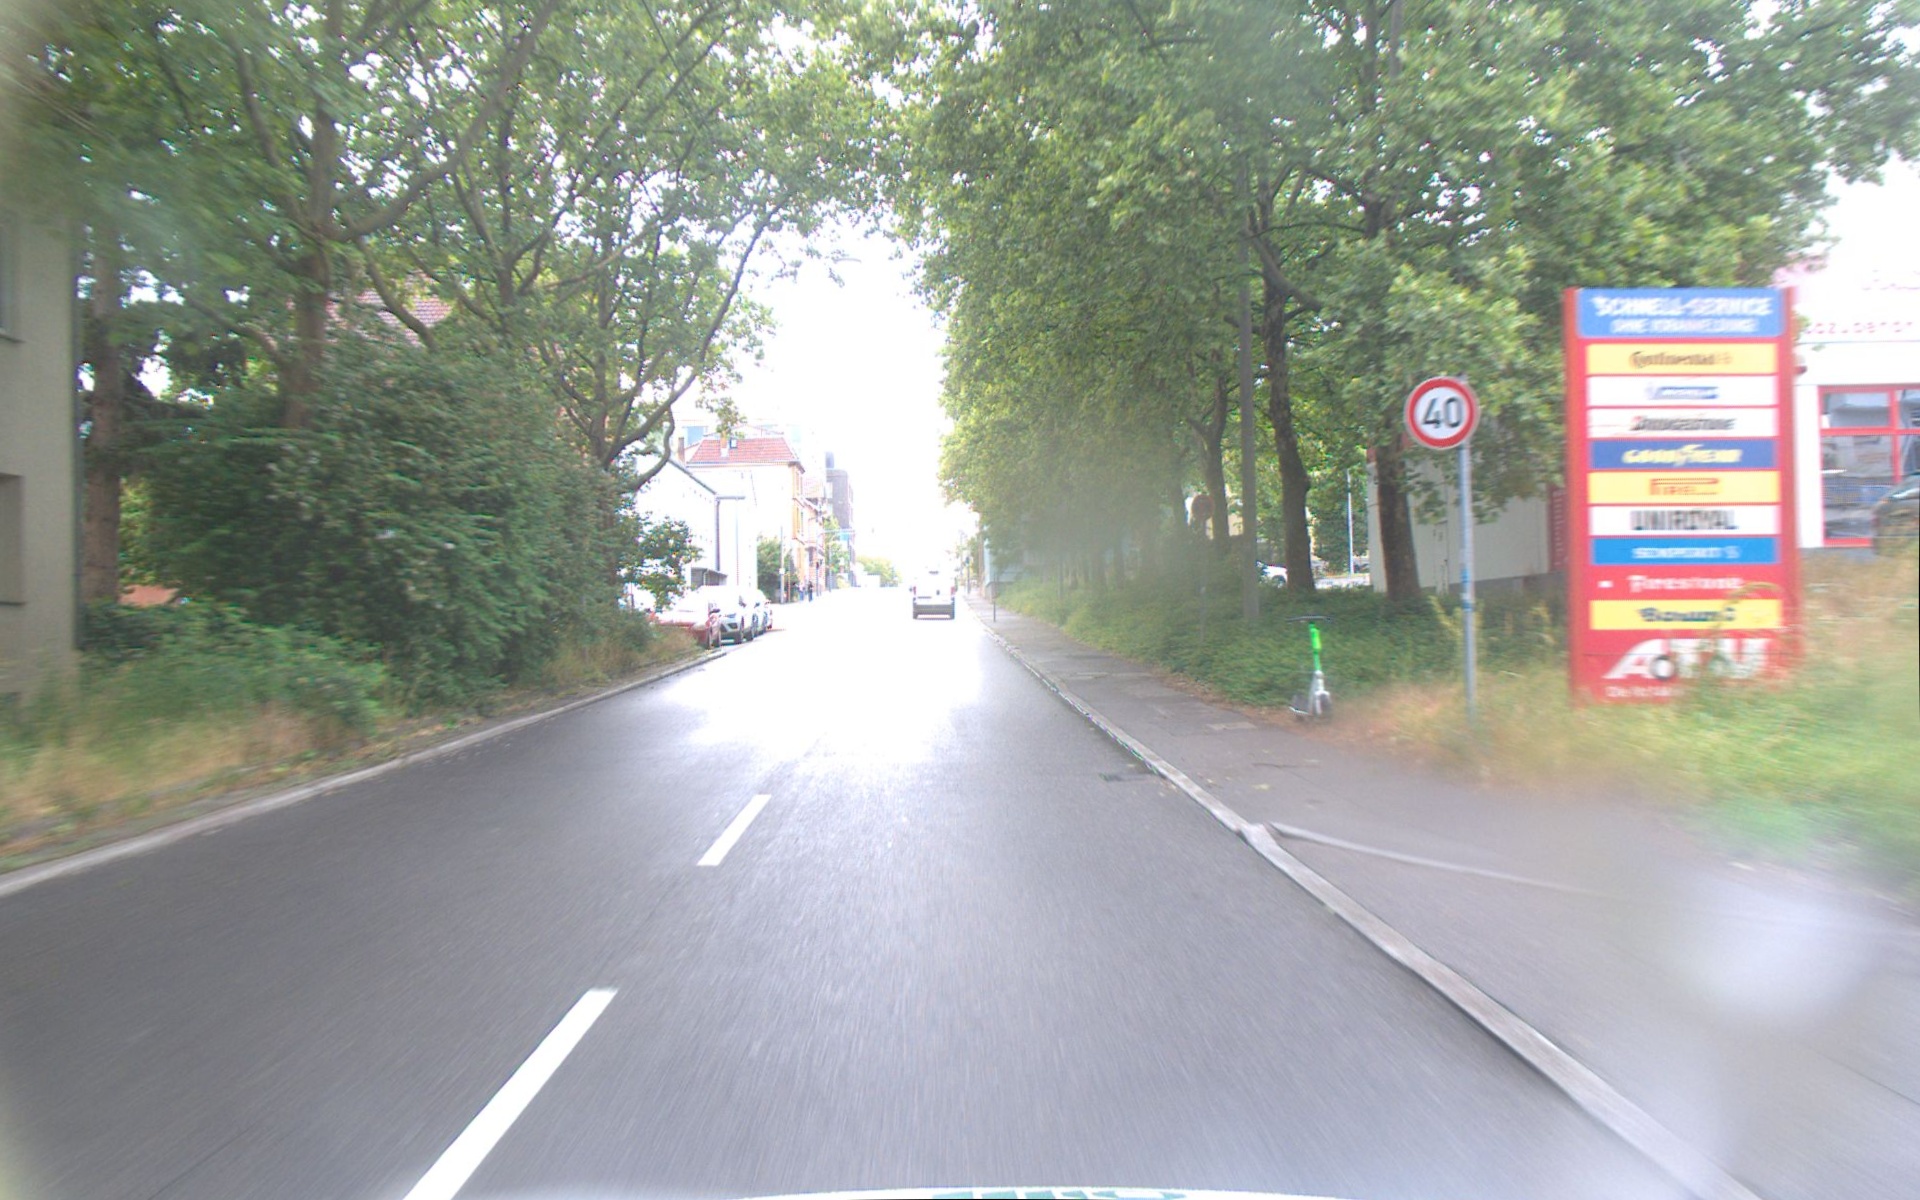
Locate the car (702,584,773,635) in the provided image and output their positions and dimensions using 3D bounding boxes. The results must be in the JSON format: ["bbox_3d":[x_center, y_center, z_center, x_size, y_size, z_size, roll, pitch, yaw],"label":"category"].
[{"bbox_3d":[-7.083,0.280,52.958,1.708,1.508,4.385,-1,0,-1],"label":"car"}]

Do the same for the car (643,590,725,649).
[{"bbox_3d":[-6.872,0.461,41.450,1.606,1.397,3.757,0,0,-3],"label":"car"}]

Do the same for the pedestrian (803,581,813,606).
[{"bbox_3d":[-12.216,-0.542,133.299,0.657,2.049,0.942,0,0,3],"label":"pedestrian"}]

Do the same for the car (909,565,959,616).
[{"bbox_3d":[-1.231,-0.436,78.906,2.288,2.270,3.999,-1,-1,-1],"label":"car"}]

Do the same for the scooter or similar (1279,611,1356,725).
[{"bbox_3d":[3.831,0.725,17.816,0.417,1.162,1.528,1,-2,-3],"label":"scooter or similar"}]

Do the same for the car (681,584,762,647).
[{"bbox_3d":[-6.707,0.400,46.857,1.657,1.568,4.117,-3,1,-1],"label":"car"}]

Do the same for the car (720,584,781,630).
[{"bbox_3d":[-7.302,0.233,57.977,1.601,1.508,4.358,1,0,-1],"label":"car"}]

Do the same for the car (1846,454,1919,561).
[{"bbox_3d":[14.734,-1.233,22.416,4.516,1.357,1.800,0,0,-1],"label":"car"}]

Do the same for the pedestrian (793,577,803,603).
[{"bbox_3d":[-13.026,-0.807,133.138,0.657,2.049,0.942,0,0,3],"label":"pedestrian"}]
